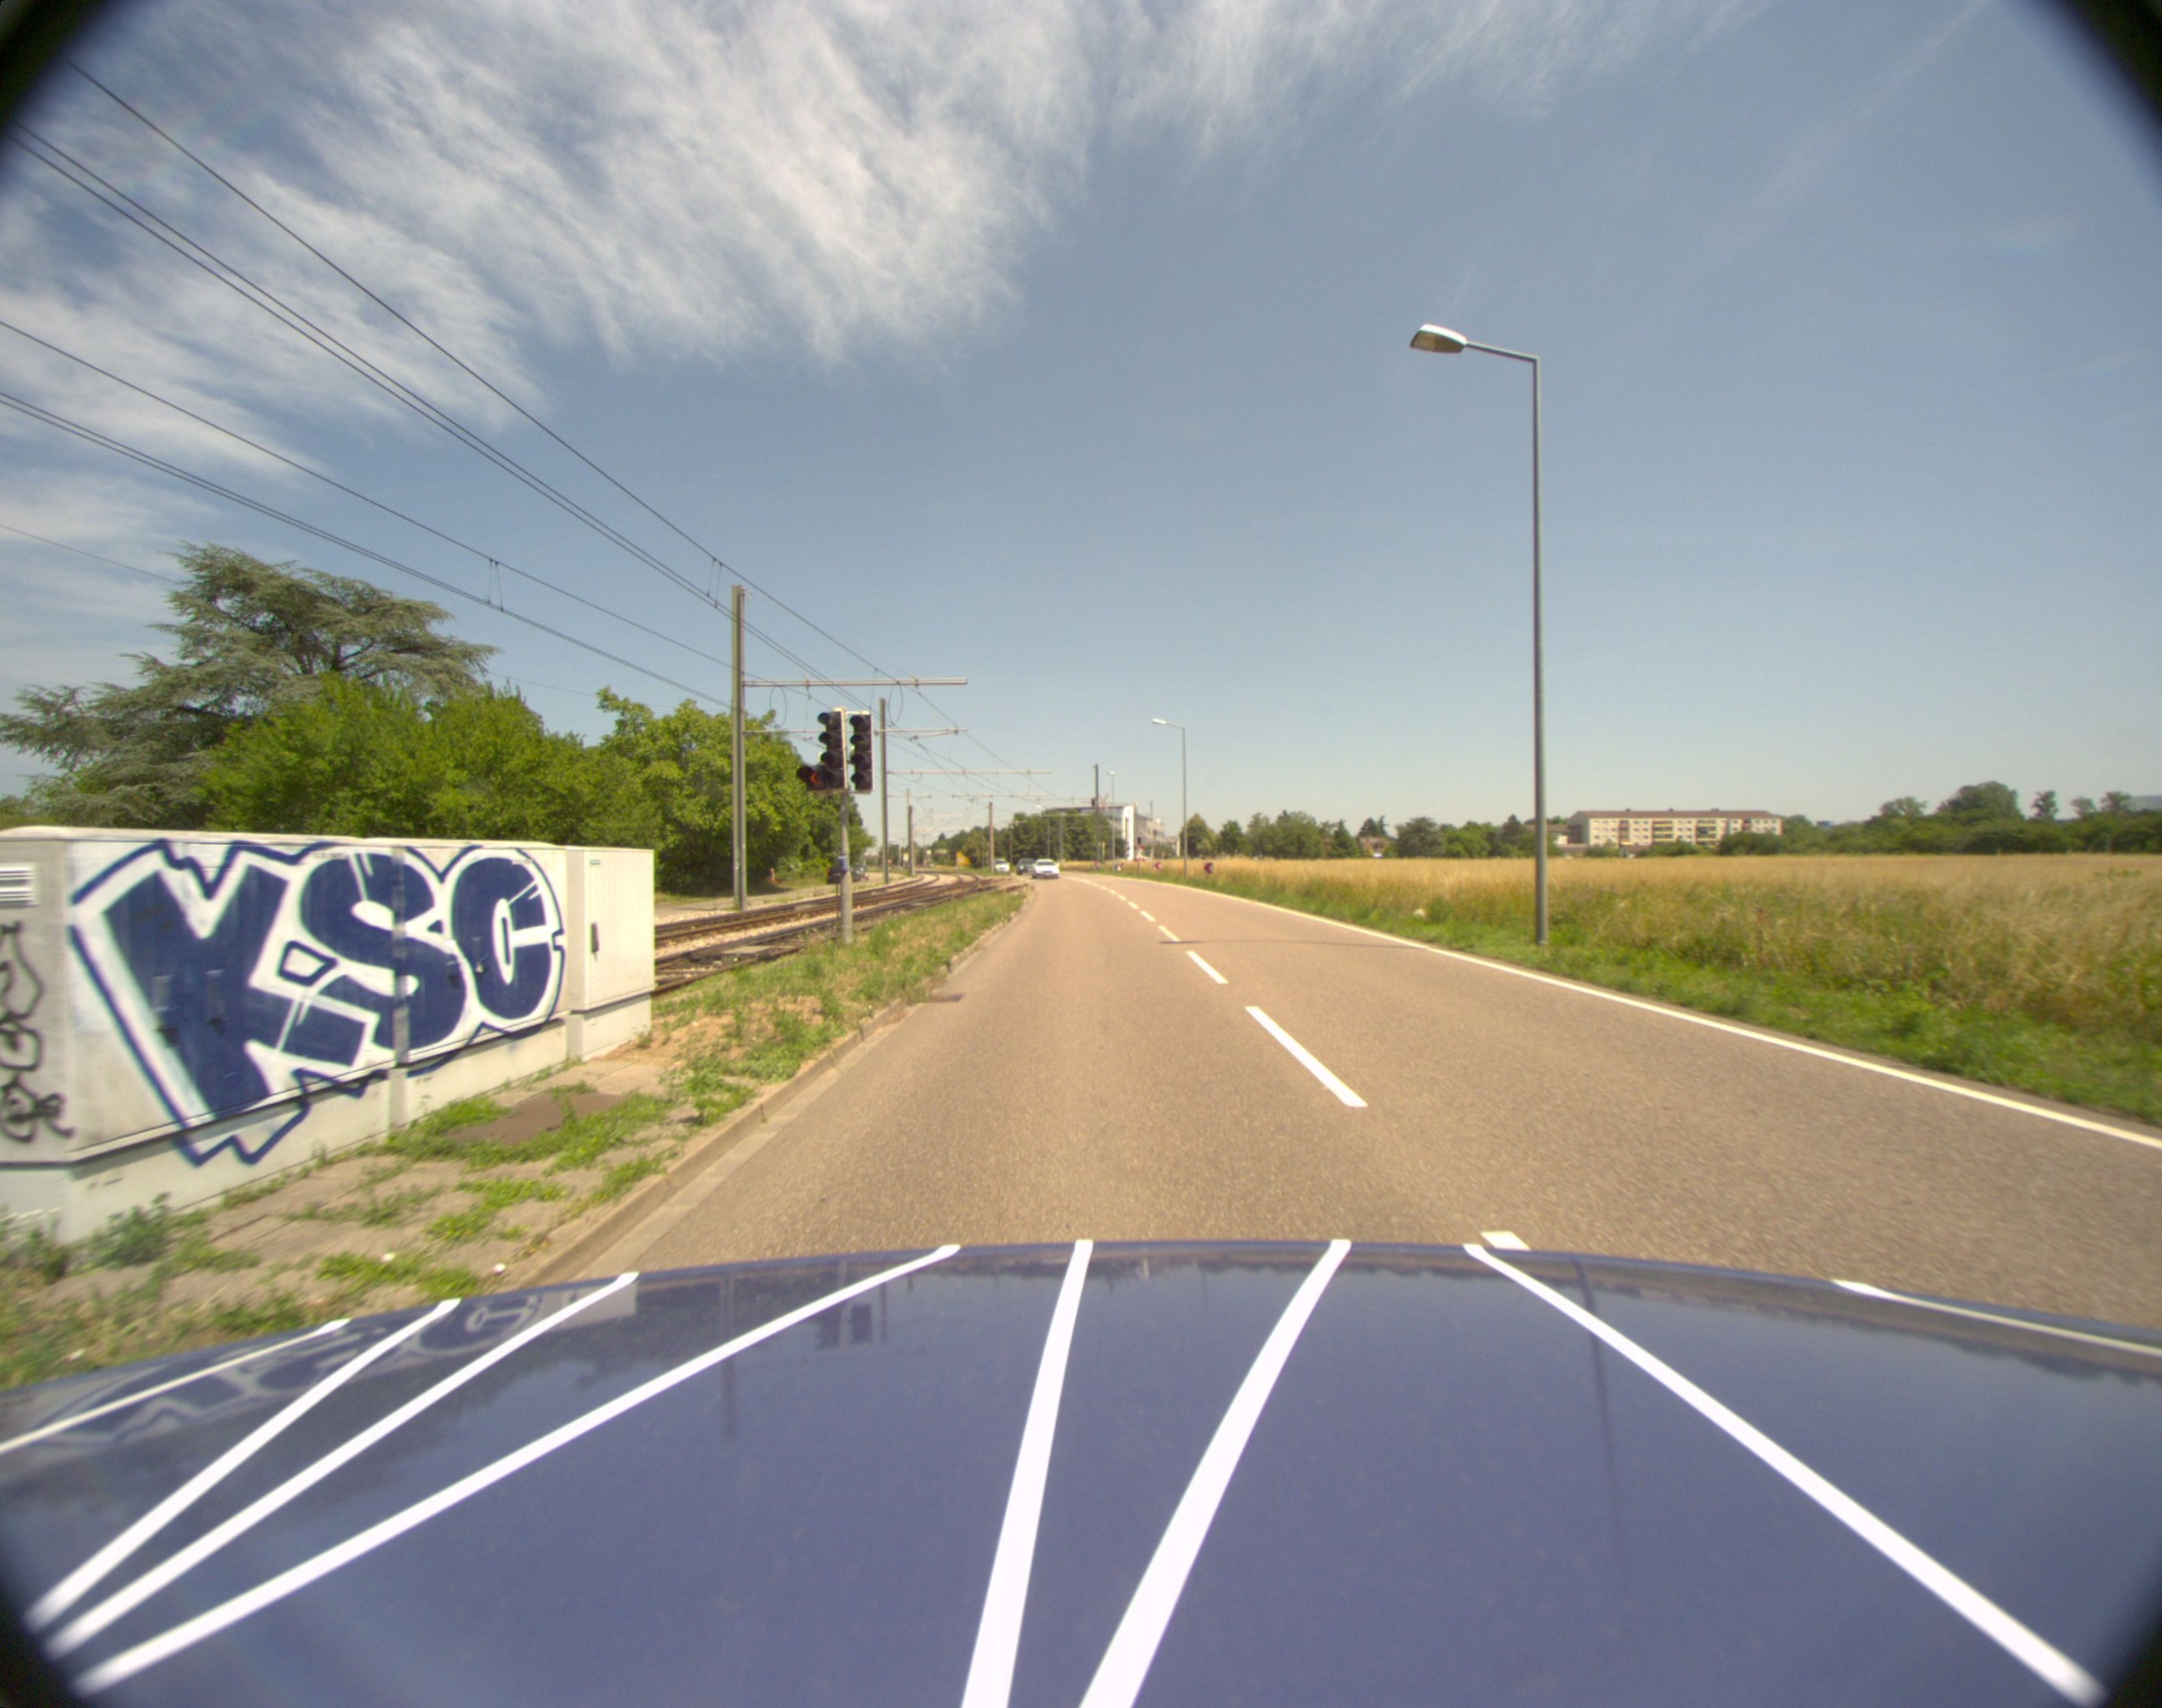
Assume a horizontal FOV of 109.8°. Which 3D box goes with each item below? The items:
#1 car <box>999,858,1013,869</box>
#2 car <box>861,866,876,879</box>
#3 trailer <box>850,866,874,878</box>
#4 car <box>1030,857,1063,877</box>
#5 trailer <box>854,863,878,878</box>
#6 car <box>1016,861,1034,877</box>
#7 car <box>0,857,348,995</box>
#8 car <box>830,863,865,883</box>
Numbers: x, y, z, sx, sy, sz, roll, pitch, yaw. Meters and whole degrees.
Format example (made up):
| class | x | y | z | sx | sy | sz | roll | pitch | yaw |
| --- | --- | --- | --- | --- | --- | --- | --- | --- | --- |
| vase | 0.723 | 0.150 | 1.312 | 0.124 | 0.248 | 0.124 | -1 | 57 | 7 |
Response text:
| class | x | y | z | sx | sy | sz | roll | pitch | yaw |
| --- | --- | --- | --- | --- | --- | --- | --- | --- | --- |
| car | -9.513 | 1.226 | 96.439 | 1.633 | 1.242 | 3.160 | -1 | 1 | -8 |
| car | -31.395 | 2.707 | 112.272 | 1.835 | 1.647 | 4.807 | -1 | 1 | -19 |
| trailer | -19.587 | 1.610 | 68.083 | 1.423 | 0.989 | 3.998 | -3 | -1 | -7 |
| car | -2.661 | 0.953 | 57.746 | 1.773 | 1.434 | 4.124 | -1 | 1 | -12 |
| trailer | -20.350 | 1.551 | 72.043 | 1.466 | 1.215 | 3.997 | -1 | 1 | -6 |
| car | -5.325 | 1.392 | 71.854 | 1.511 | 1.423 | 3.355 | -1 | 1 | -8 |
| car | -16.211 | 1.036 | 13.205 | 2.042 | 1.871 | 5.067 | -1 | 1 | -1 |
| car | -18.927 | 1.503 | 61.755 | 1.802 | 1.418 | 4.736 | -1 | 1 | -7 |
